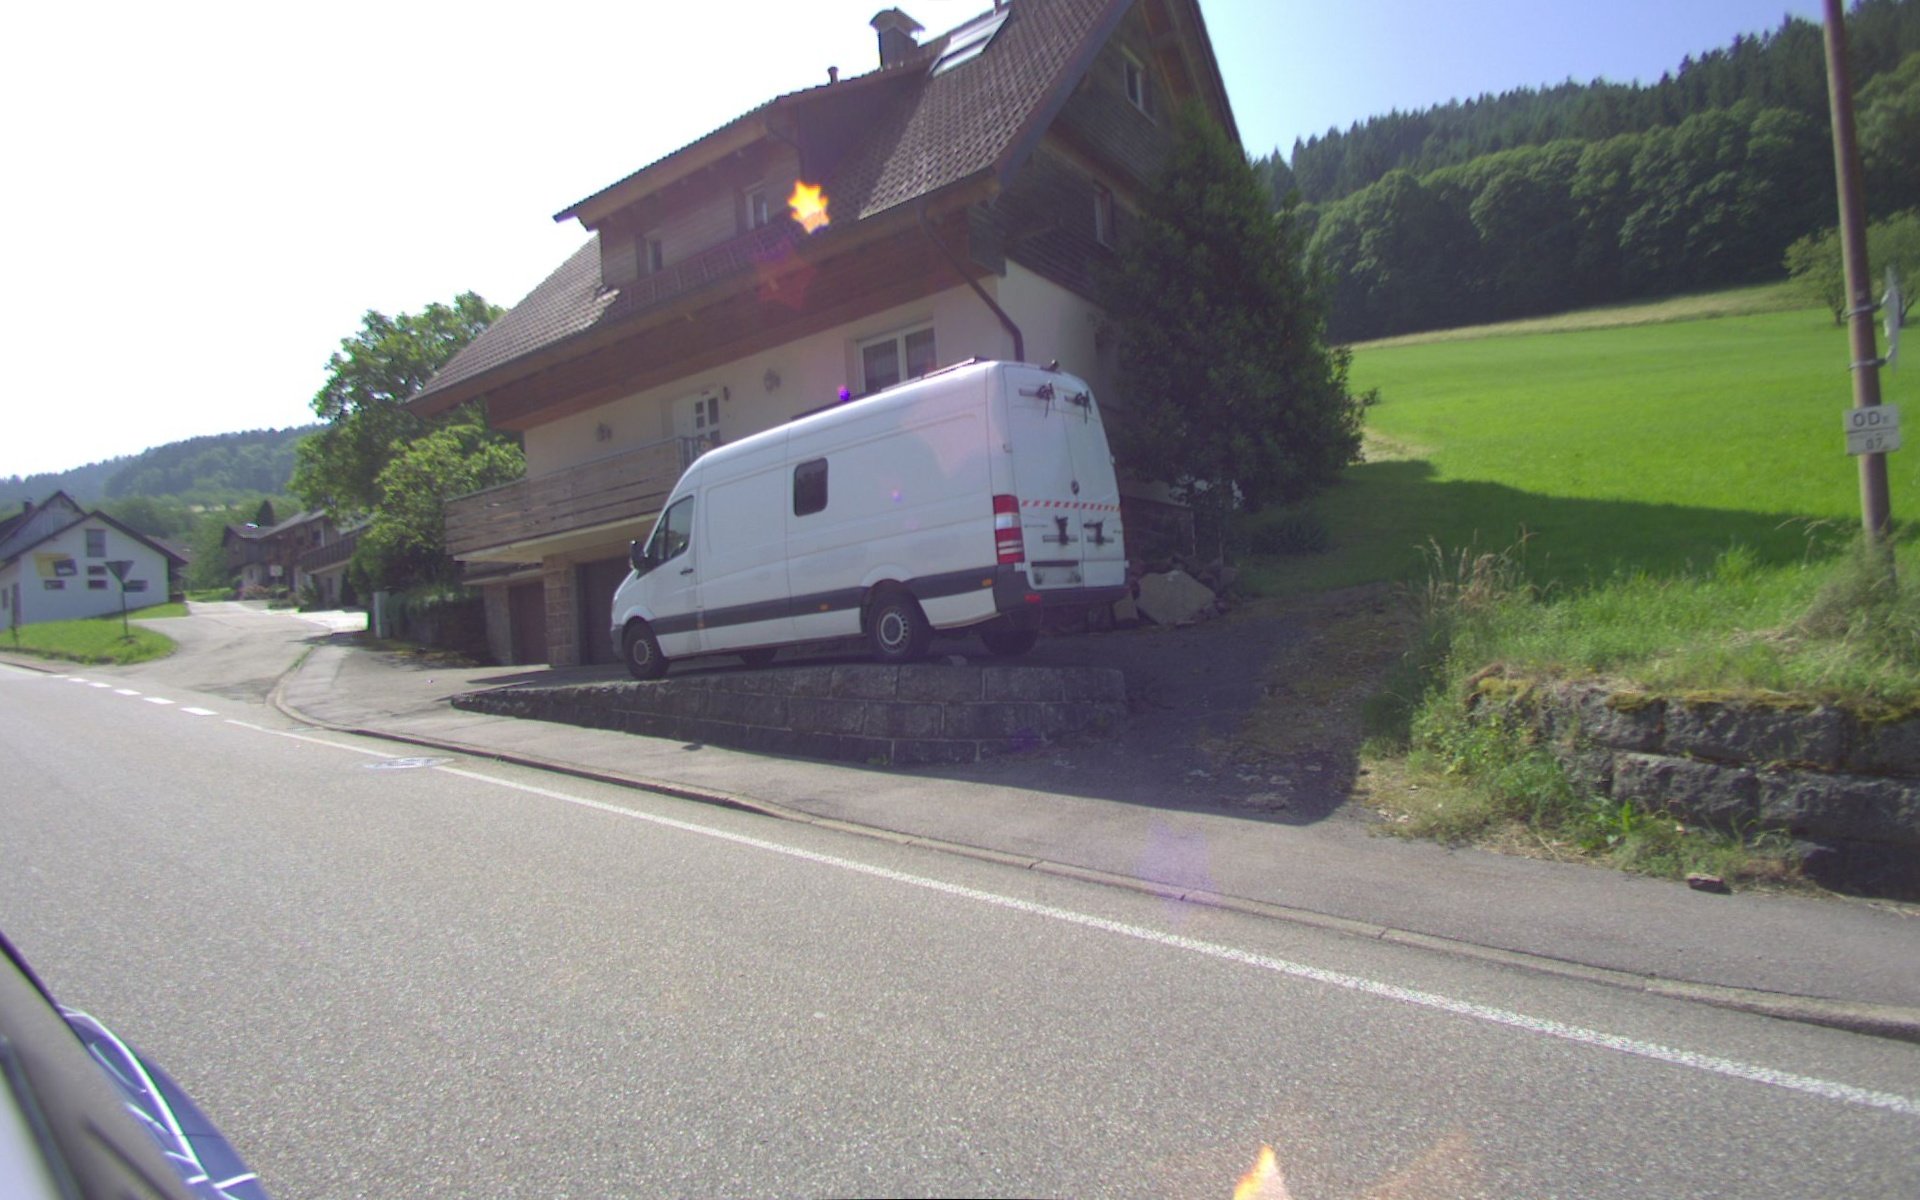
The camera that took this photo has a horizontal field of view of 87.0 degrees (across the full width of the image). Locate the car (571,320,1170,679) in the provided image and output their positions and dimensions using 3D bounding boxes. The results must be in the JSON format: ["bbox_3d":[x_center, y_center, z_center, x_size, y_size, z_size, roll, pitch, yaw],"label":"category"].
[{"bbox_3d":[-1.467,-0.678,11.263,7.169,2.708,2.047,-6,-1,41],"label":"car"}]
